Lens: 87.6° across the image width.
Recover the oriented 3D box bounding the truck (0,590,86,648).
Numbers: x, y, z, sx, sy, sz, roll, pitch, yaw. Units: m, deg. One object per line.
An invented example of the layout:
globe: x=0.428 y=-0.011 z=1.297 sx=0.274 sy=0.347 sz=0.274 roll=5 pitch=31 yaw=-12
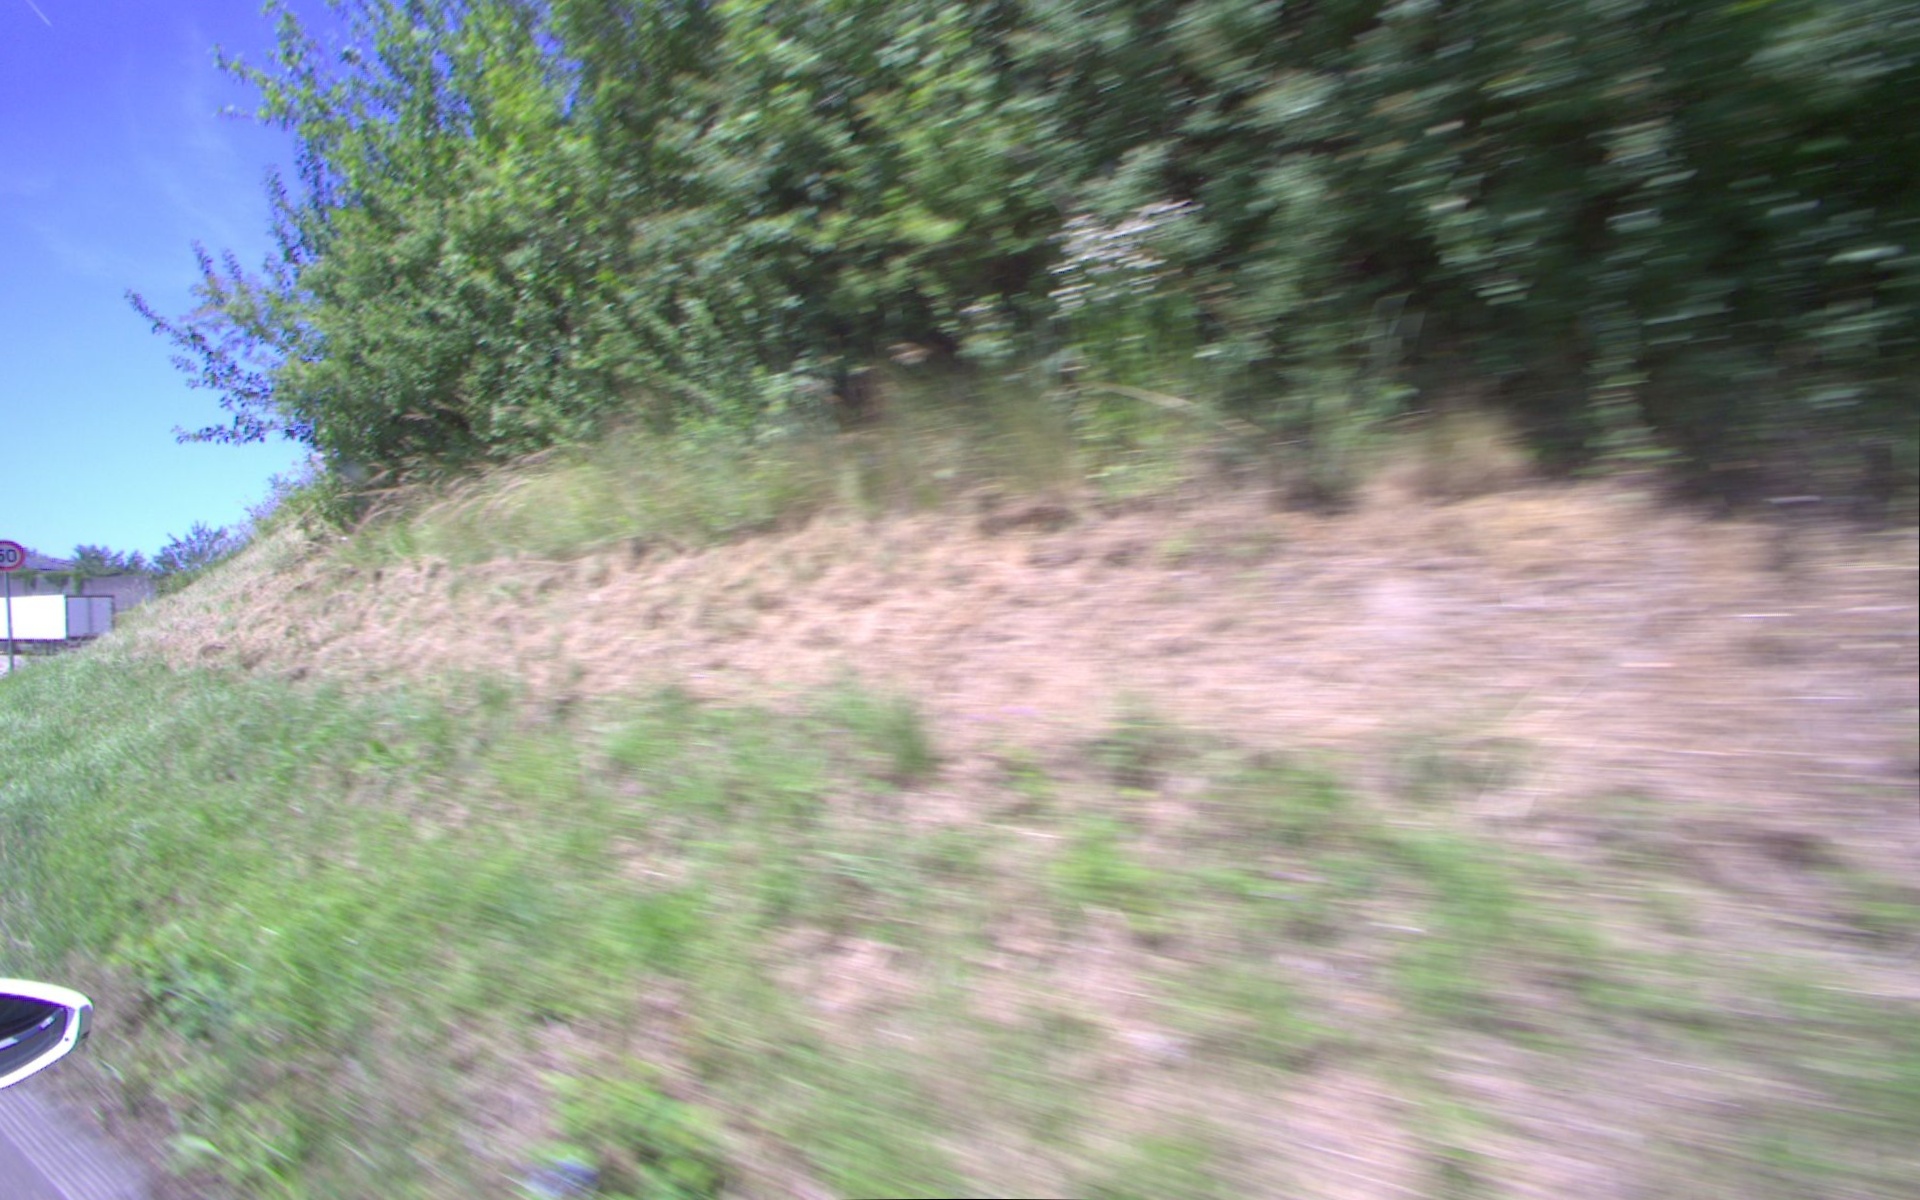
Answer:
truck: x=-67.203 y=1.434 z=73.006 sx=8.136 sy=3.984 sz=3.184 roll=-1 pitch=-2 yaw=34

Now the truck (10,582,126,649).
truck: x=-62.282 y=1.145 z=69.788 sx=11.636 sy=4.365 sz=3.184 roll=-1 pitch=-2 yaw=34

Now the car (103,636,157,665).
car: x=-46.632 y=2.854 z=56.316 sx=1.629 sy=1.528 sz=3.623 roll=1 pitch=-3 yaw=-29
